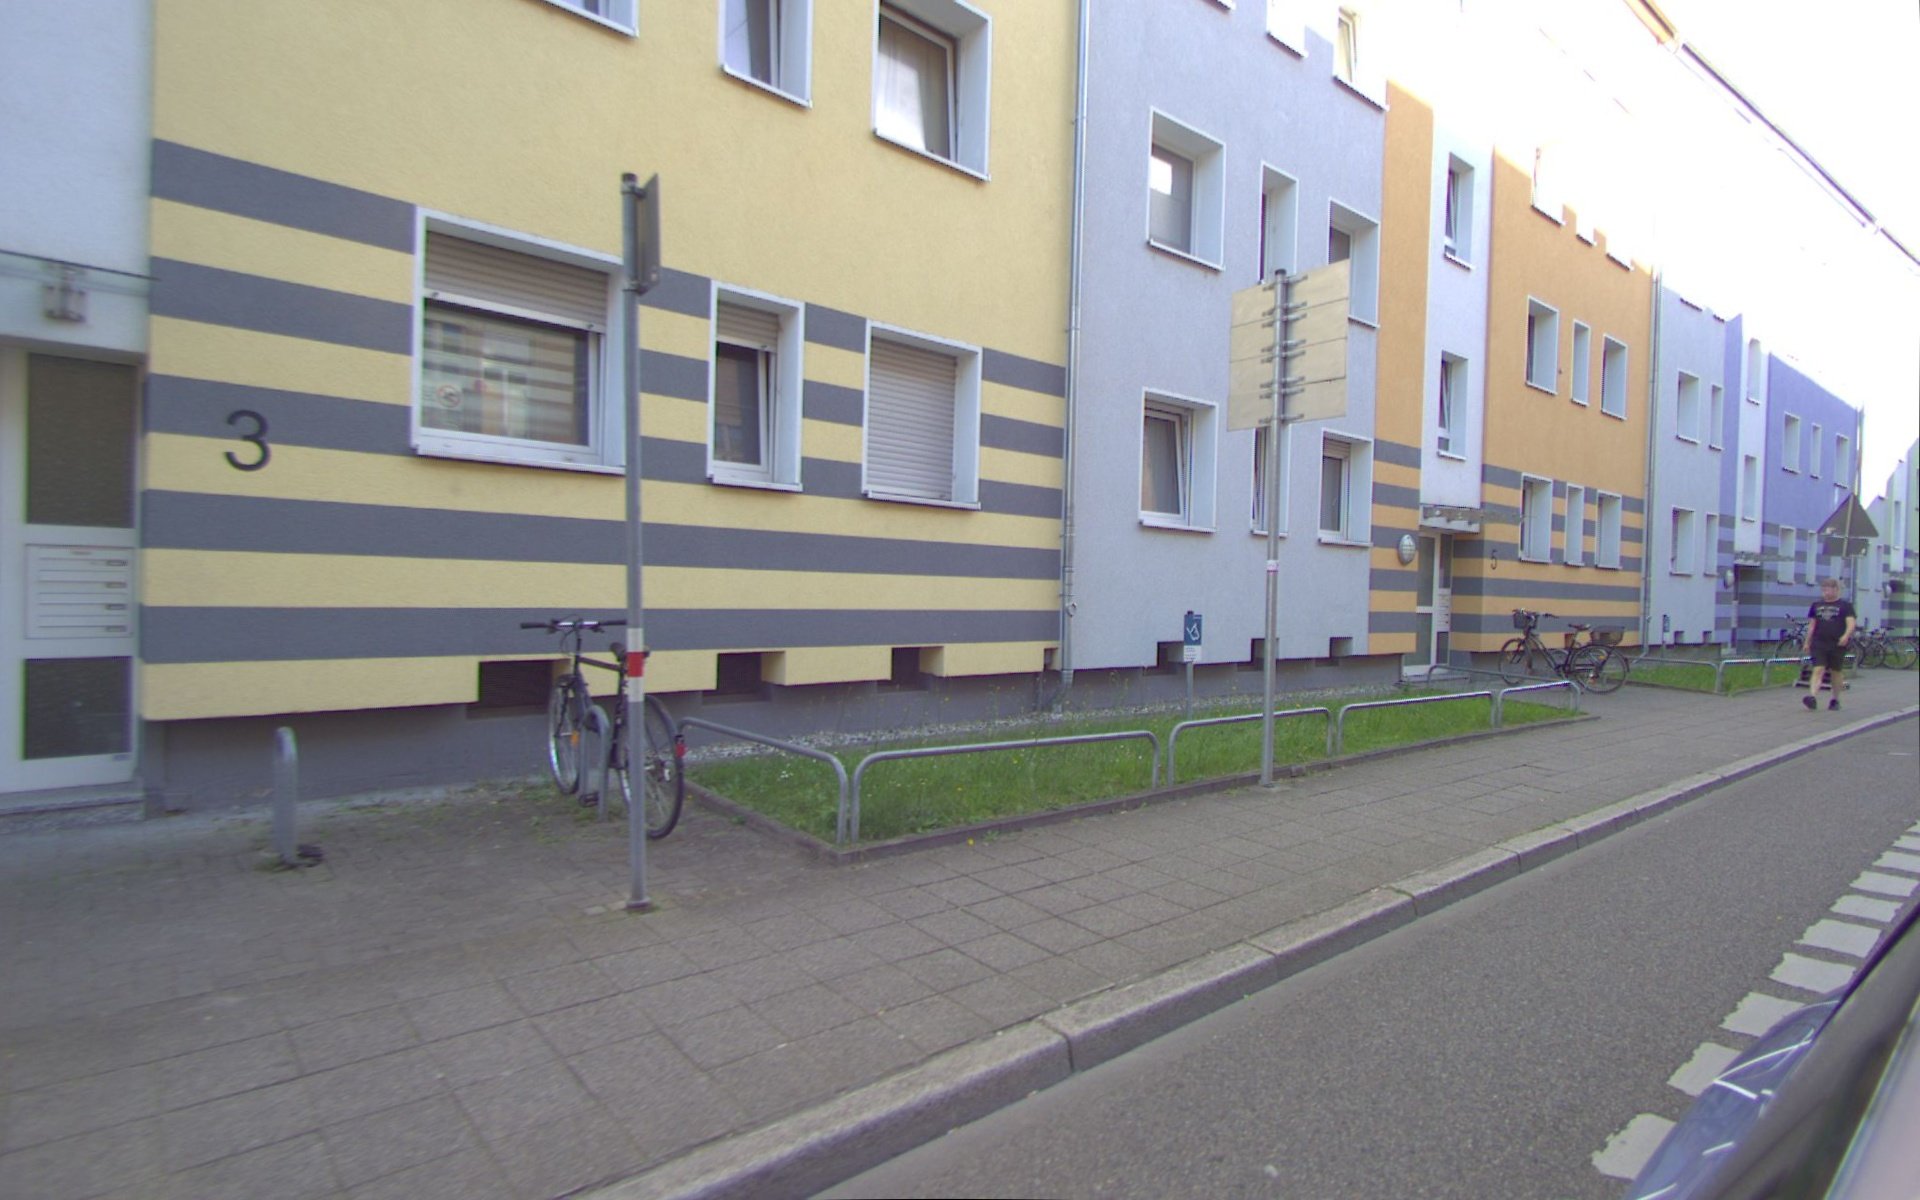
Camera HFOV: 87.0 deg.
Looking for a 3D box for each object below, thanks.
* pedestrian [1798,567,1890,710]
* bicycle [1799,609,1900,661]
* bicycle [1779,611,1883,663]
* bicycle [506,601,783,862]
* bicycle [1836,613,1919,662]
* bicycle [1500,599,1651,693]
[{"bbox_3d":[11.878,0.493,13.596,0.899,1.810,0.646,1,4,-39],"label":"pedestrian"},{"bbox_3d":[21.140,0.810,24.077,0.625,1.095,1.710,1,2,-40],"label":"bicycle"},{"bbox_3d":[20.180,0.841,23.467,0.625,1.058,1.711,1,2,-40],"label":"bicycle"},{"bbox_3d":[-1.782,0.596,5.496,0.625,1.074,1.946,1,2,-43],"label":"bicycle"},{"bbox_3d":[22.083,0.890,24.138,0.625,1.048,1.709,1,2,-43],"label":"bicycle"},{"bbox_3d":[8.777,0.619,14.483,0.625,1.173,1.709,1,2,-43],"label":"bicycle"}]
